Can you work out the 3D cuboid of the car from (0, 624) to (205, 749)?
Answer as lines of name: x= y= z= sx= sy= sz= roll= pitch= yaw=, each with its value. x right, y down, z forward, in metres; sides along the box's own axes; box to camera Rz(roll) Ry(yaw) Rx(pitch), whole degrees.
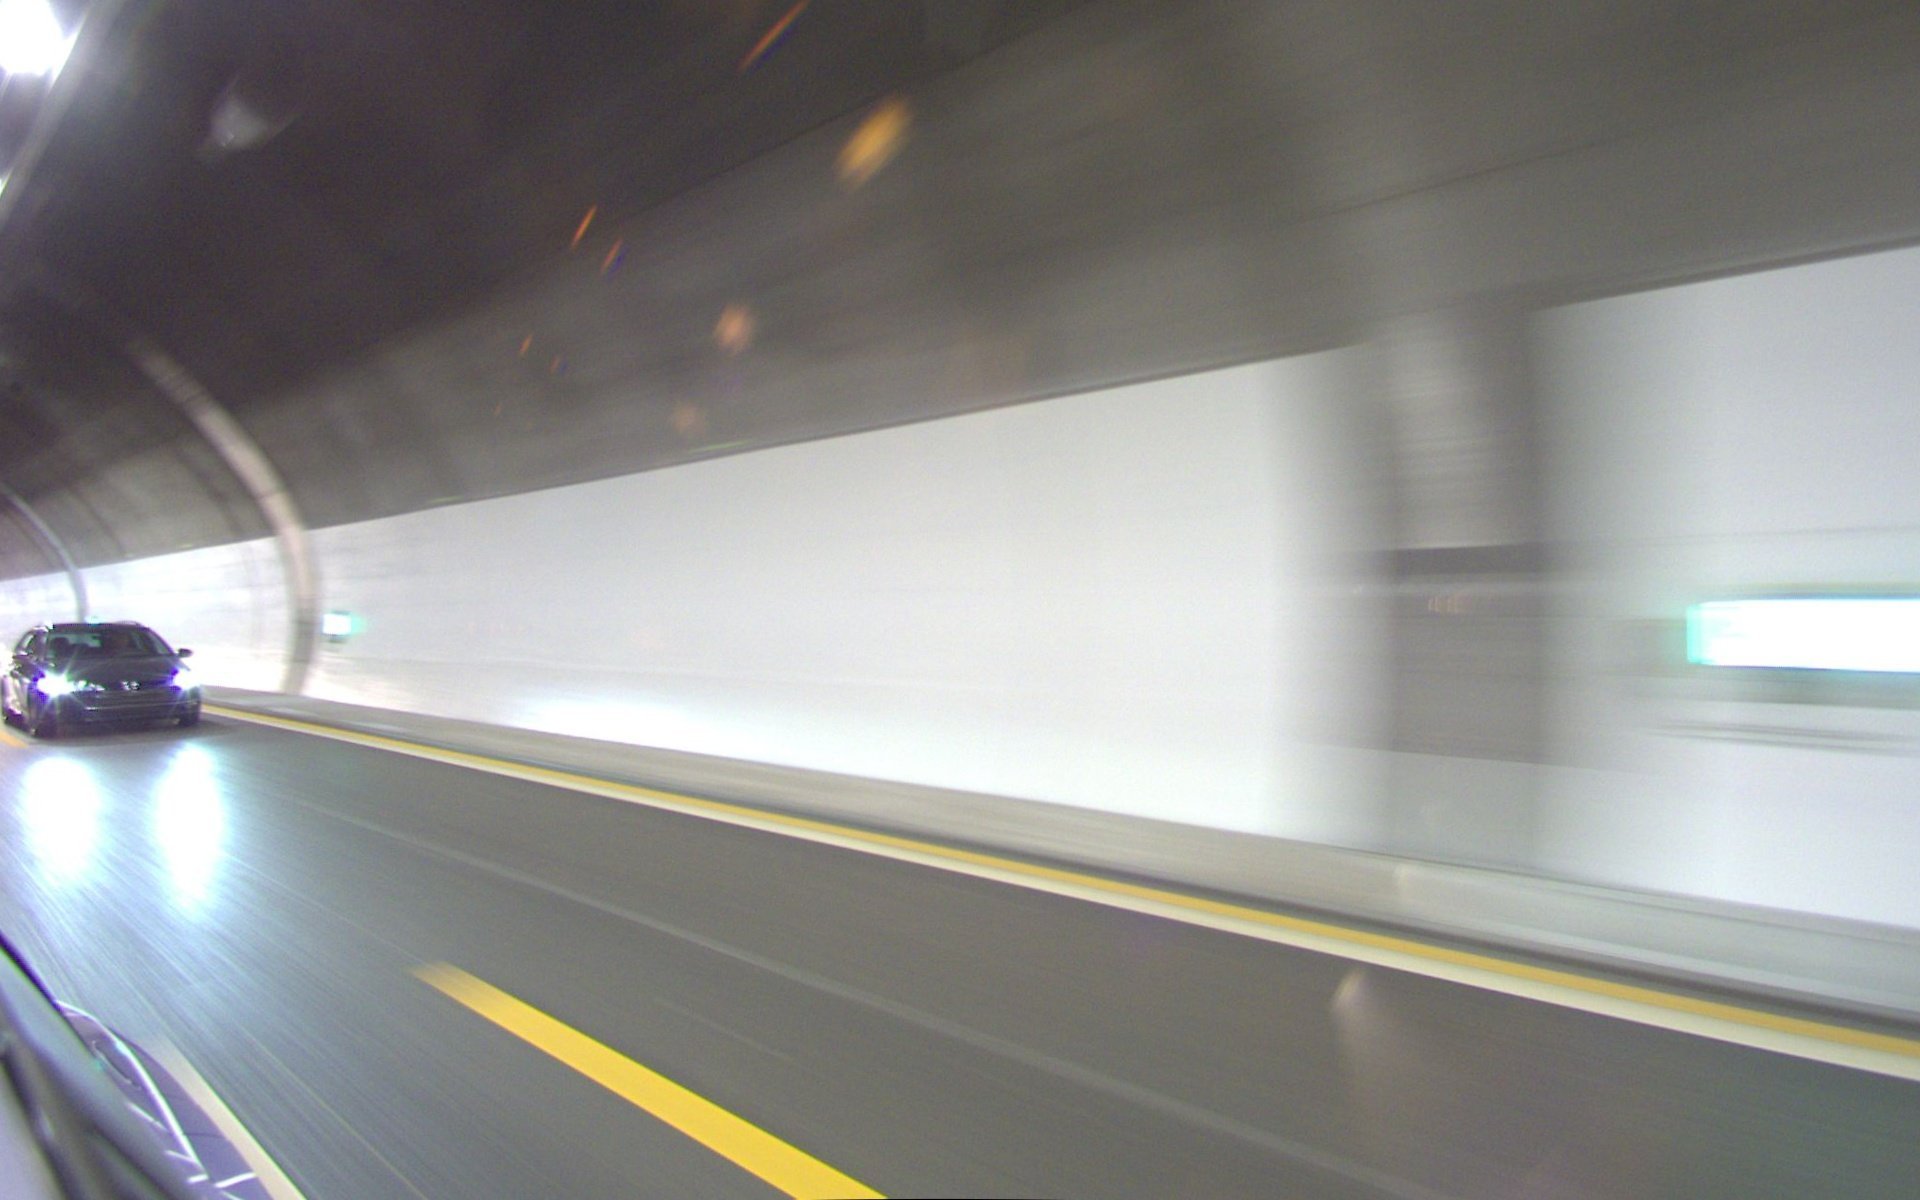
car: x=-12.475 y=1.108 z=14.415 sx=4.880 sy=1.449 sz=1.760 roll=-2 pitch=-1 yaw=41
